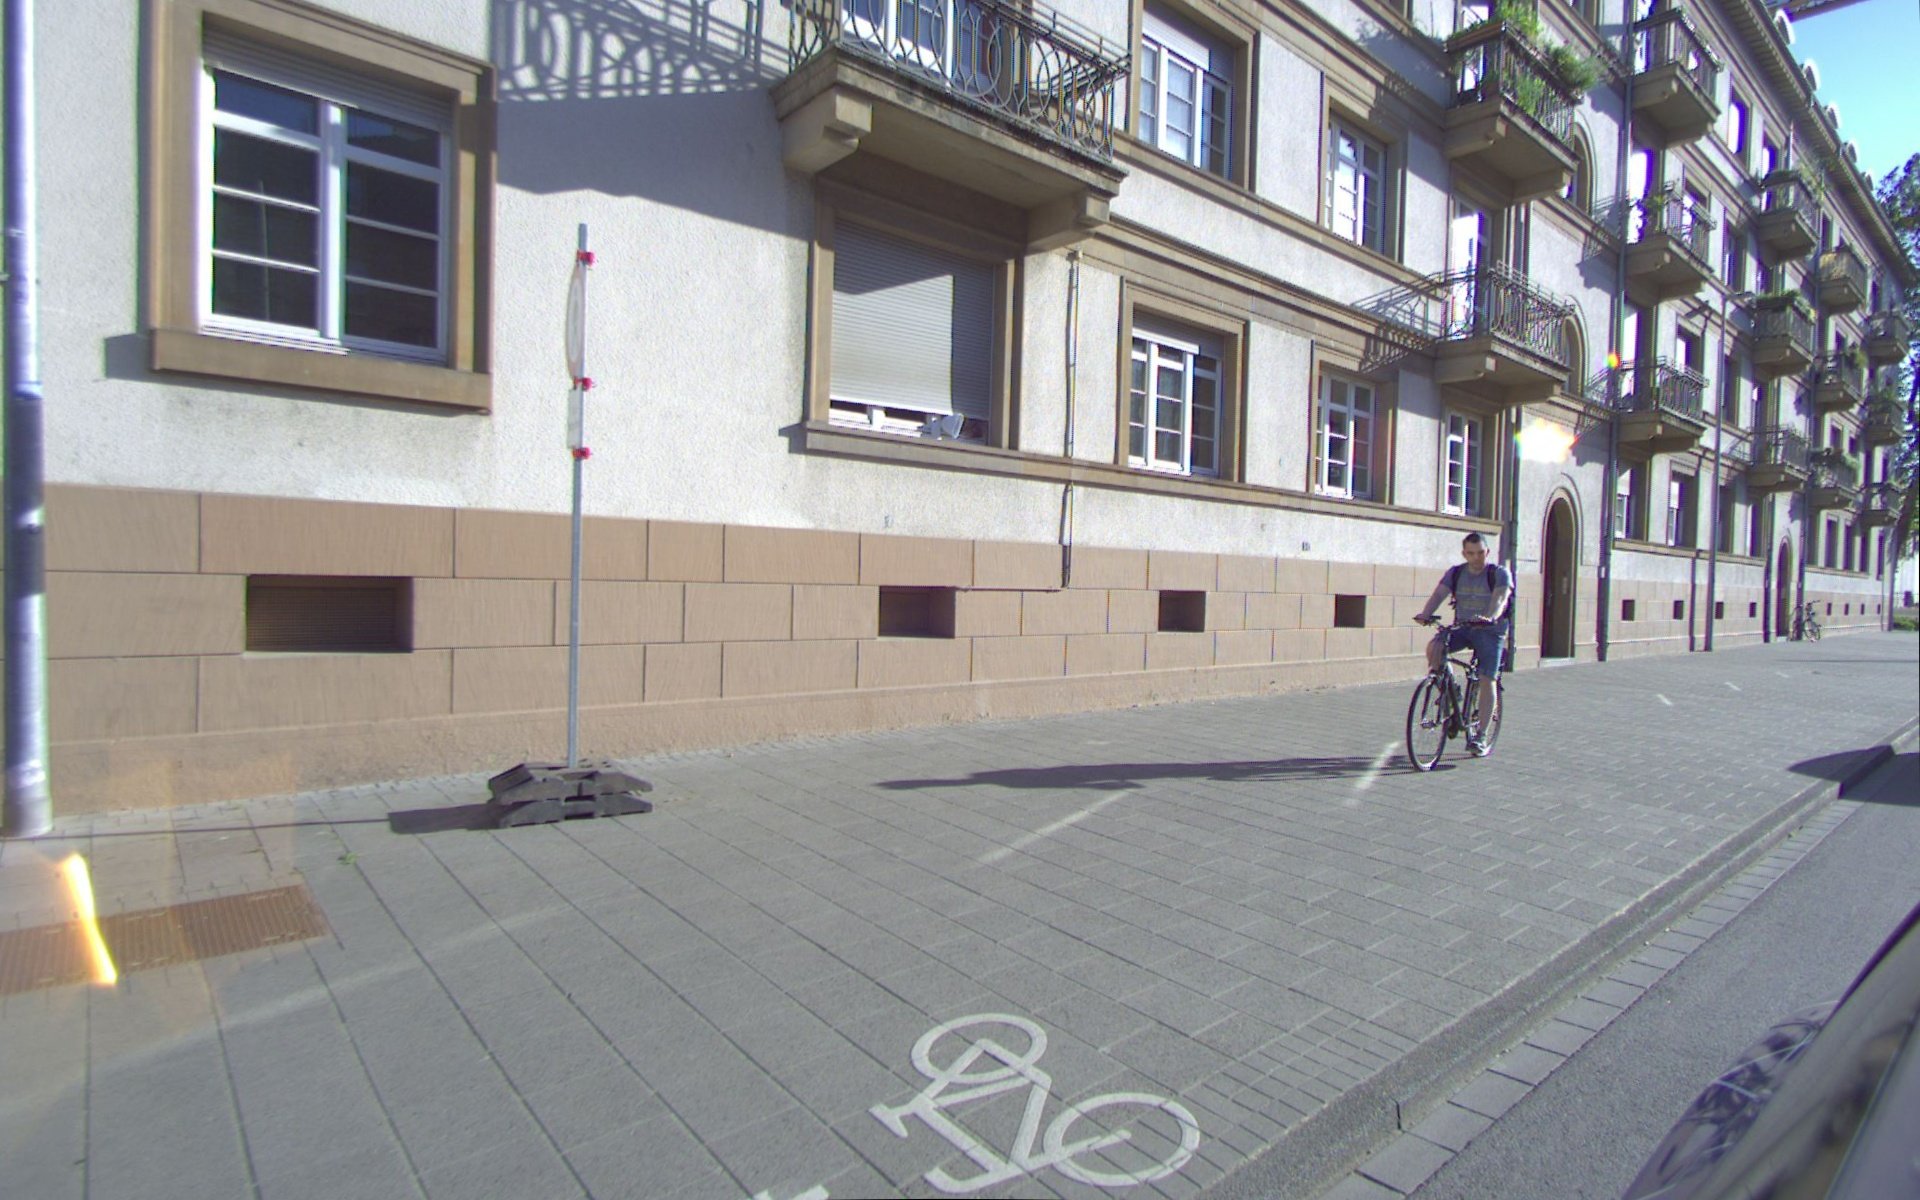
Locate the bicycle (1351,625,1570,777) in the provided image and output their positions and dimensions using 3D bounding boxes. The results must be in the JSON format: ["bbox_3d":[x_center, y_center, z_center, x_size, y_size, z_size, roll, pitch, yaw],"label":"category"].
[{"bbox_3d":[3.974,0.716,7.946,2.160,0.965,0.769,0,2,-42],"label":"bicycle"}]

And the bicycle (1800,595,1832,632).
[{"bbox_3d":[26.270,0.399,31.049,2.160,1.109,0.419,0,2,-41],"label":"bicycle"}]

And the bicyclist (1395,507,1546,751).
[{"bbox_3d":[4.023,0.199,7.975,0.921,1.785,0.734,0,2,-41],"label":"bicyclist"}]
